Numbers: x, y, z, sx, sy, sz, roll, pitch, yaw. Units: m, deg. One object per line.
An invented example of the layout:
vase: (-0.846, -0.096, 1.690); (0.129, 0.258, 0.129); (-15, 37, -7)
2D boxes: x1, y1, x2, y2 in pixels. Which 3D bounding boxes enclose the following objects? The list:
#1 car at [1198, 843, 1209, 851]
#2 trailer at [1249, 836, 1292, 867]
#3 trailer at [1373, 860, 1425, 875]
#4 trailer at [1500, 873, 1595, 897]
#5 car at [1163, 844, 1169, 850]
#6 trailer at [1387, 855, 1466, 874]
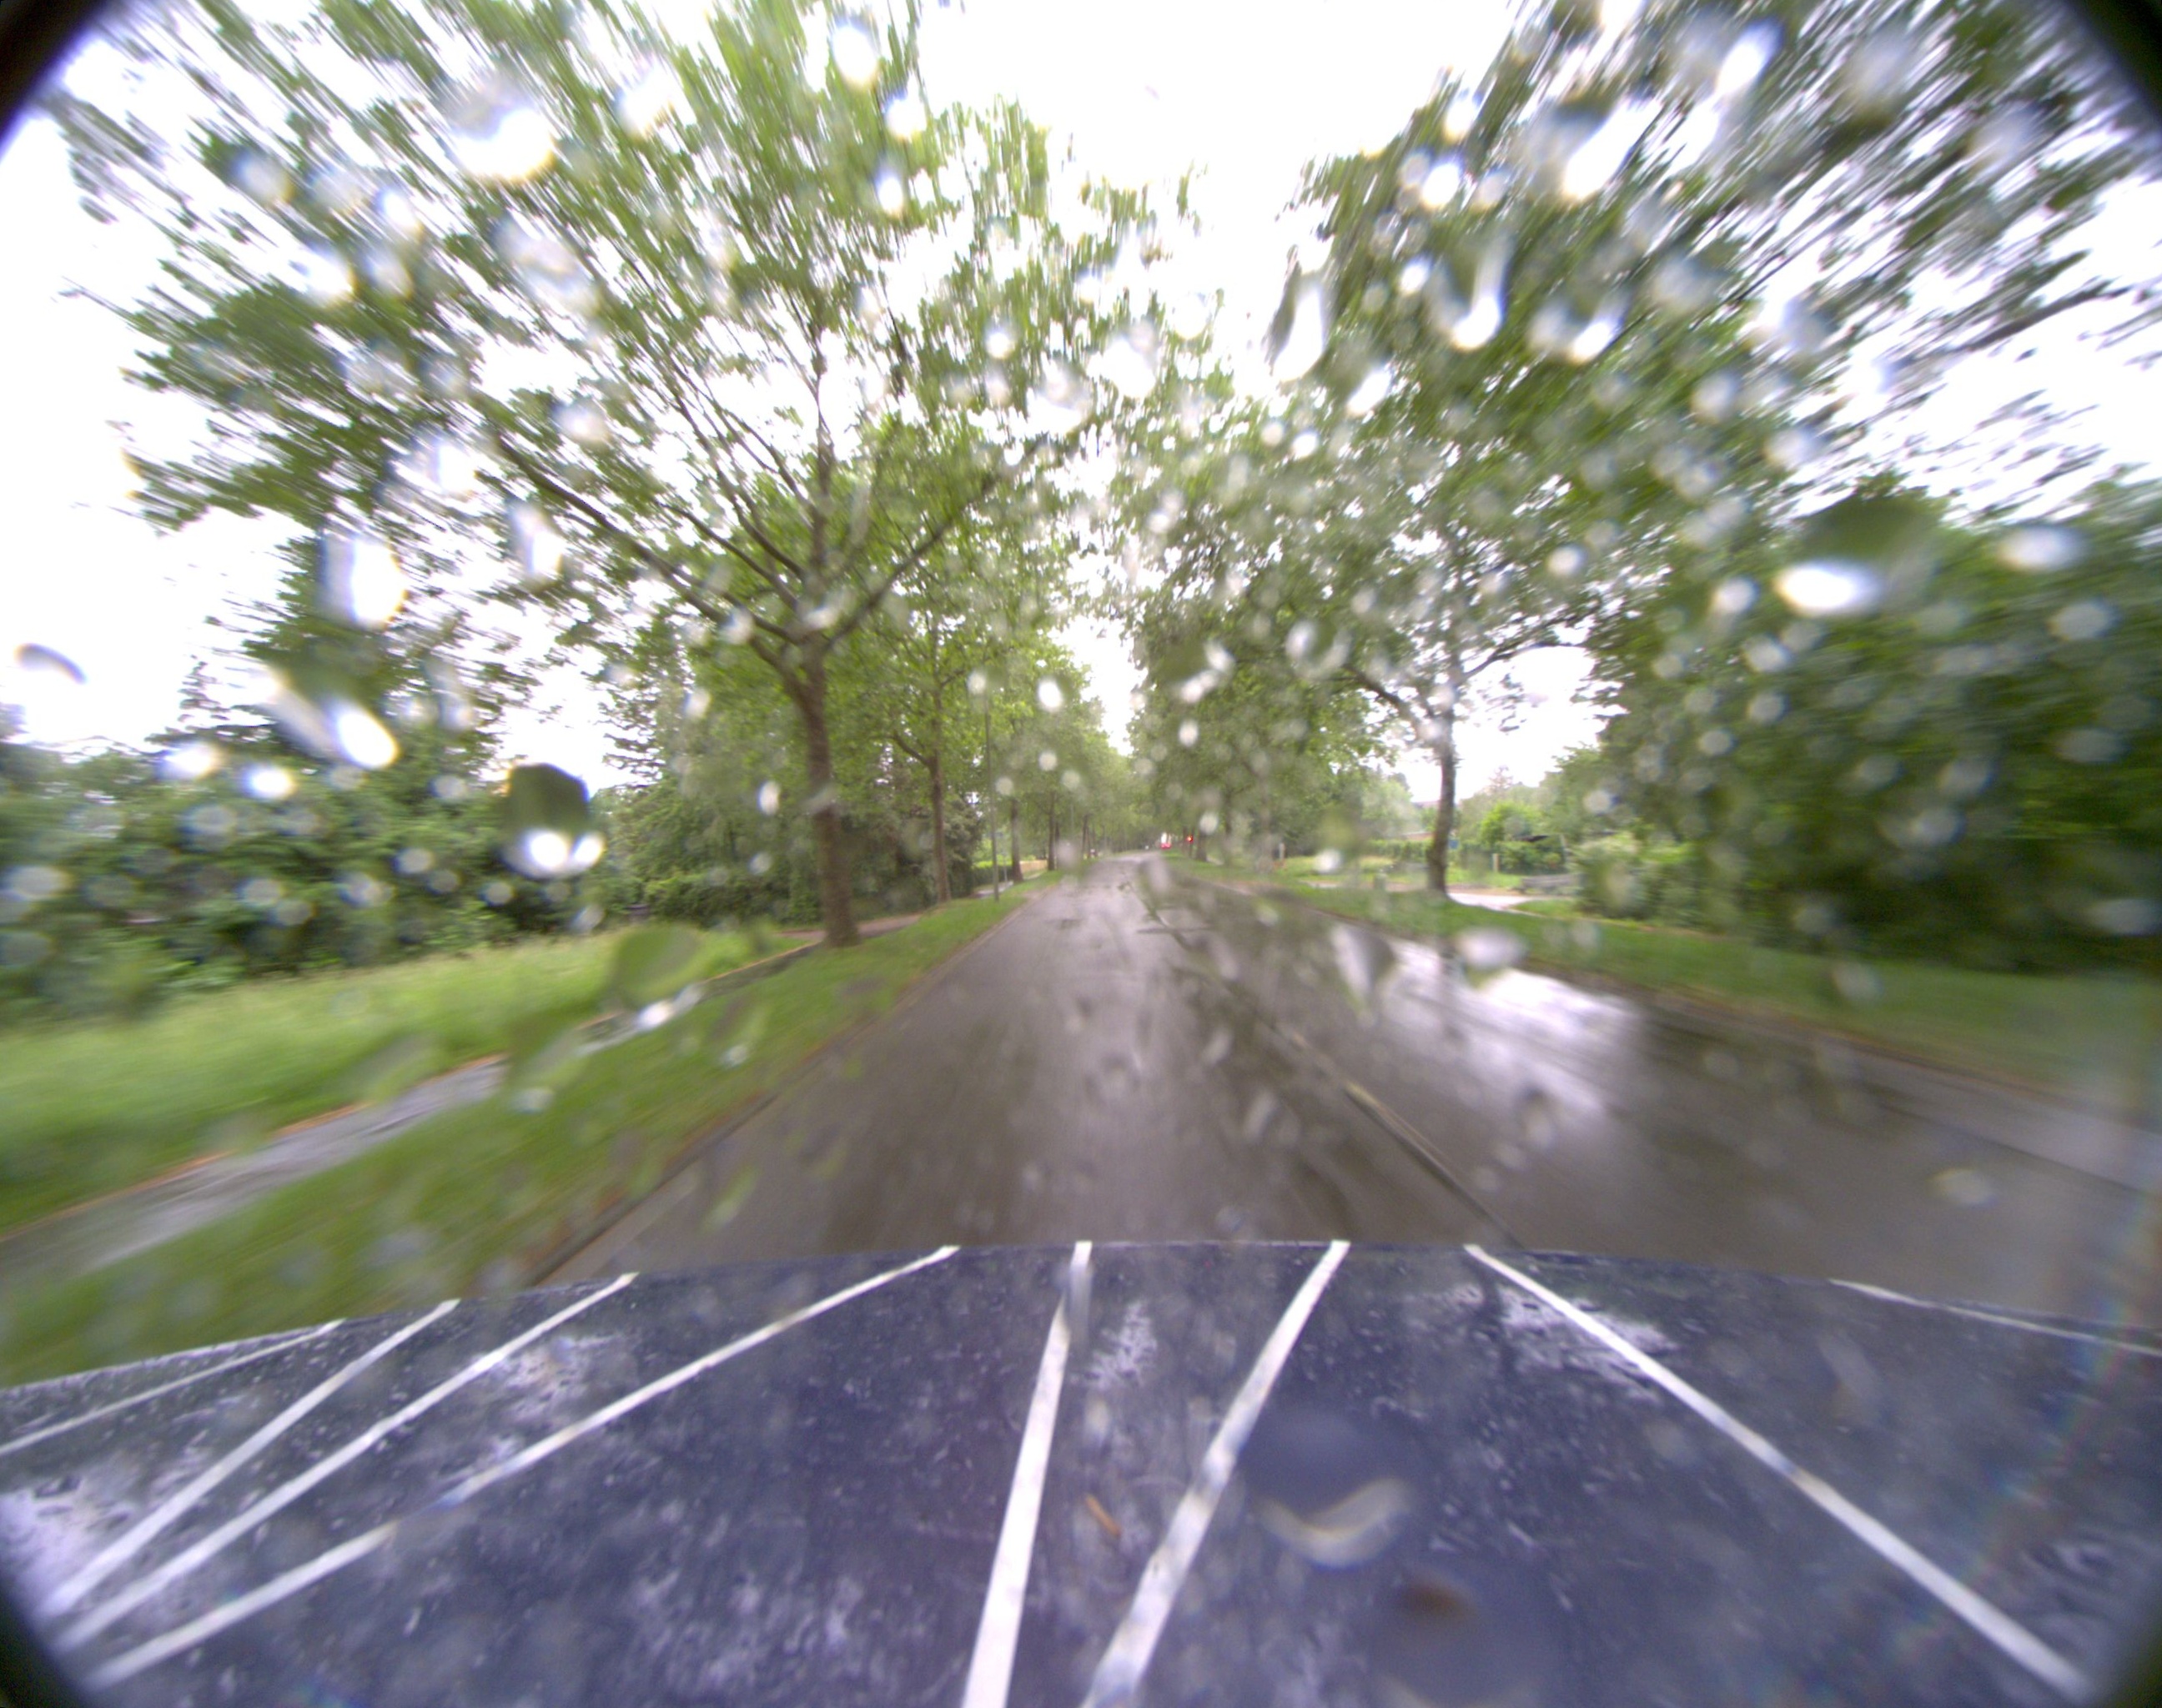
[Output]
car: (27.446, -1.671, 170.548); (1.896, 1.673, 4.004); (-1, 1, 18)
trailer: (17.335, -0.326, 69.857); (2.804, 2.648, 6.653); (-2, 1, 5)
trailer: (22.931, 0.956, 54.890); (3.082, 0.939, 1.769); (-2, 1, 3)
trailer: (20.102, 1.322, 32.836); (3.035, 0.833, 1.678); (-2, 2, 6)
car: (22.741, -1.788, 203.219); (1.593, 1.445, 3.373); (-2, 1, 3)
trailer: (23.388, 0.684, 51.581); (4.326, 1.026, 2.382); (-2, 1, 2)
